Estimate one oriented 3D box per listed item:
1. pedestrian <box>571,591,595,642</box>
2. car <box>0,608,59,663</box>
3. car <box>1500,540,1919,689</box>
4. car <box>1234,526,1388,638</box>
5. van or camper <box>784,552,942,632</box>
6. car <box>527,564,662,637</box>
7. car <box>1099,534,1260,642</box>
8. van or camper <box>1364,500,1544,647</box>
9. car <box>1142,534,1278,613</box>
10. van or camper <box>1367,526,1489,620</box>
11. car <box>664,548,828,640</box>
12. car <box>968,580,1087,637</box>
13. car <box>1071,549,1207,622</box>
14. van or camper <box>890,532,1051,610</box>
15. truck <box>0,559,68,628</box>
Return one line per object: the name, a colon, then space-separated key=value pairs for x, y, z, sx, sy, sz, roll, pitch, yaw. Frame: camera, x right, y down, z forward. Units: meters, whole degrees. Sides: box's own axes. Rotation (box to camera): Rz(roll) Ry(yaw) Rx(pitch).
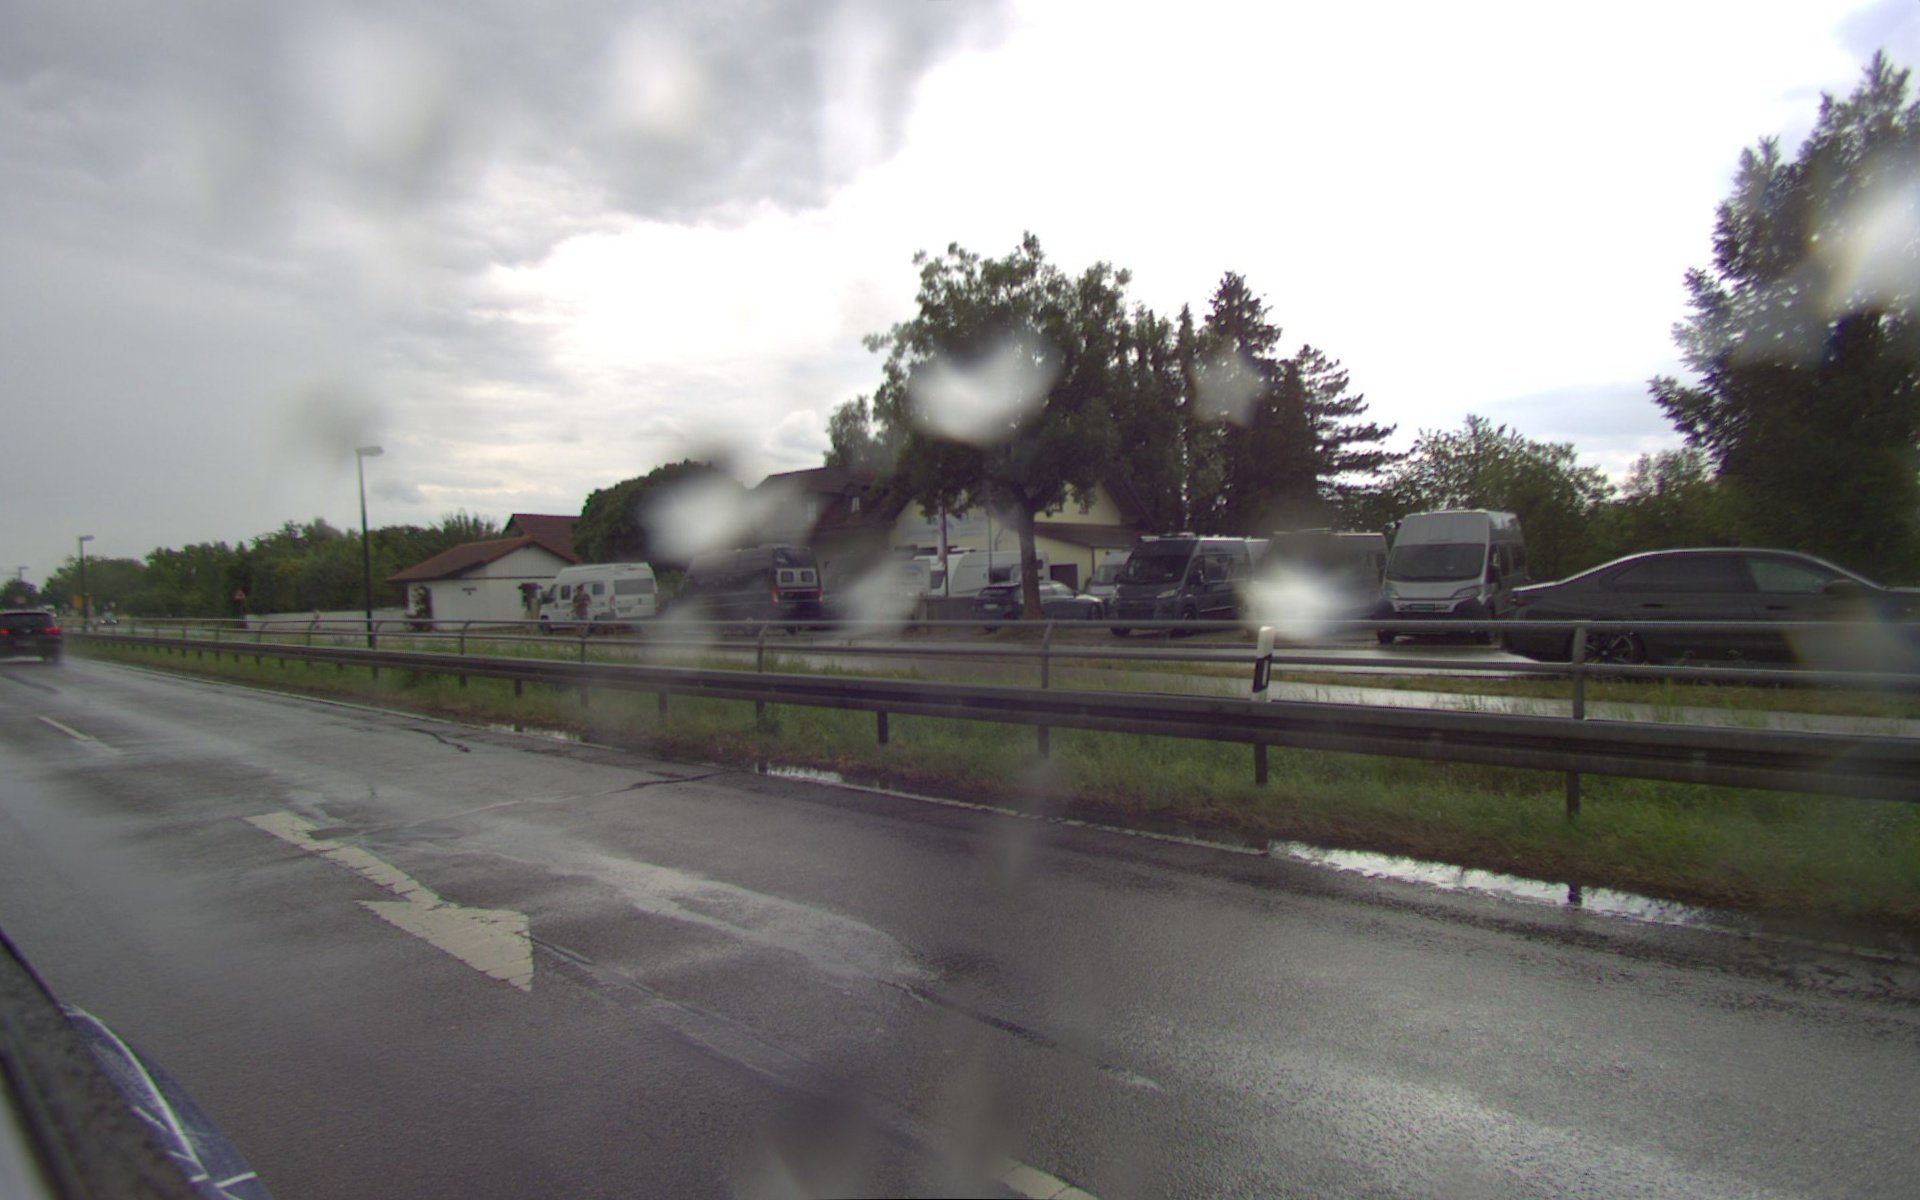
pedestrian: x=-12.883 y=0.558 z=34.560 sx=0.509 sy=1.723 sz=0.651 roll=-2 pitch=1 yaw=-41
car: x=-29.773 y=1.091 z=31.765 sx=3.997 sy=1.631 sz=1.746 roll=-1 pitch=-1 yaw=41
car: x=9.148 y=0.167 z=11.518 sx=5.112 sy=1.502 sz=1.501 roll=-2 pitch=-1 yaw=37
car: x=8.804 y=-0.463 z=25.085 sx=1.997 sy=2.477 sz=5.043 roll=-2 pitch=1 yaw=38
van or camper: x=-3.584 y=-0.372 z=38.661 sx=2.432 sy=2.822 sz=5.993 roll=-2 pitch=1 yaw=39
car: x=-14.191 y=0.036 z=39.068 sx=6.017 sy=2.600 sz=2.214 roll=-1 pitch=1 yaw=42
car: x=5.823 y=-0.353 z=26.331 sx=1.997 sy=2.520 sz=5.133 roll=-2 pitch=1 yaw=38
van or camper: x=10.603 y=-0.564 z=21.437 sx=2.079 sy=2.697 sz=5.817 roll=-2 pitch=1 yaw=39
car: x=8.935 y=-0.948 z=35.745 sx=2.090 sy=2.557 sz=6.030 roll=-1 pitch=1 yaw=41
van or camper: x=14.511 y=-0.841 z=31.183 sx=1.998 sy=2.609 sz=5.747 roll=-2 pitch=1 yaw=39
car: x=-7.125 y=-0.176 z=33.280 sx=5.570 sy=2.783 sz=2.358 roll=-1 pitch=1 yaw=42
car: x=2.074 y=0.230 z=30.431 sx=1.539 sy=1.507 sz=3.844 roll=-1 pitch=1 yaw=41
car: x=6.692 y=-0.572 z=37.252 sx=2.090 sy=2.435 sz=6.030 roll=-1 pitch=1 yaw=41
van or camper: x=0.514 y=-1.075 z=37.108 sx=2.560 sy=2.611 sz=6.161 roll=-1 pitch=1 yaw=39
truck: x=-72.348 y=-0.479 z=78.759 sx=7.778 sy=5.071 sz=3.215 roll=-1 pitch=1 yaw=41
